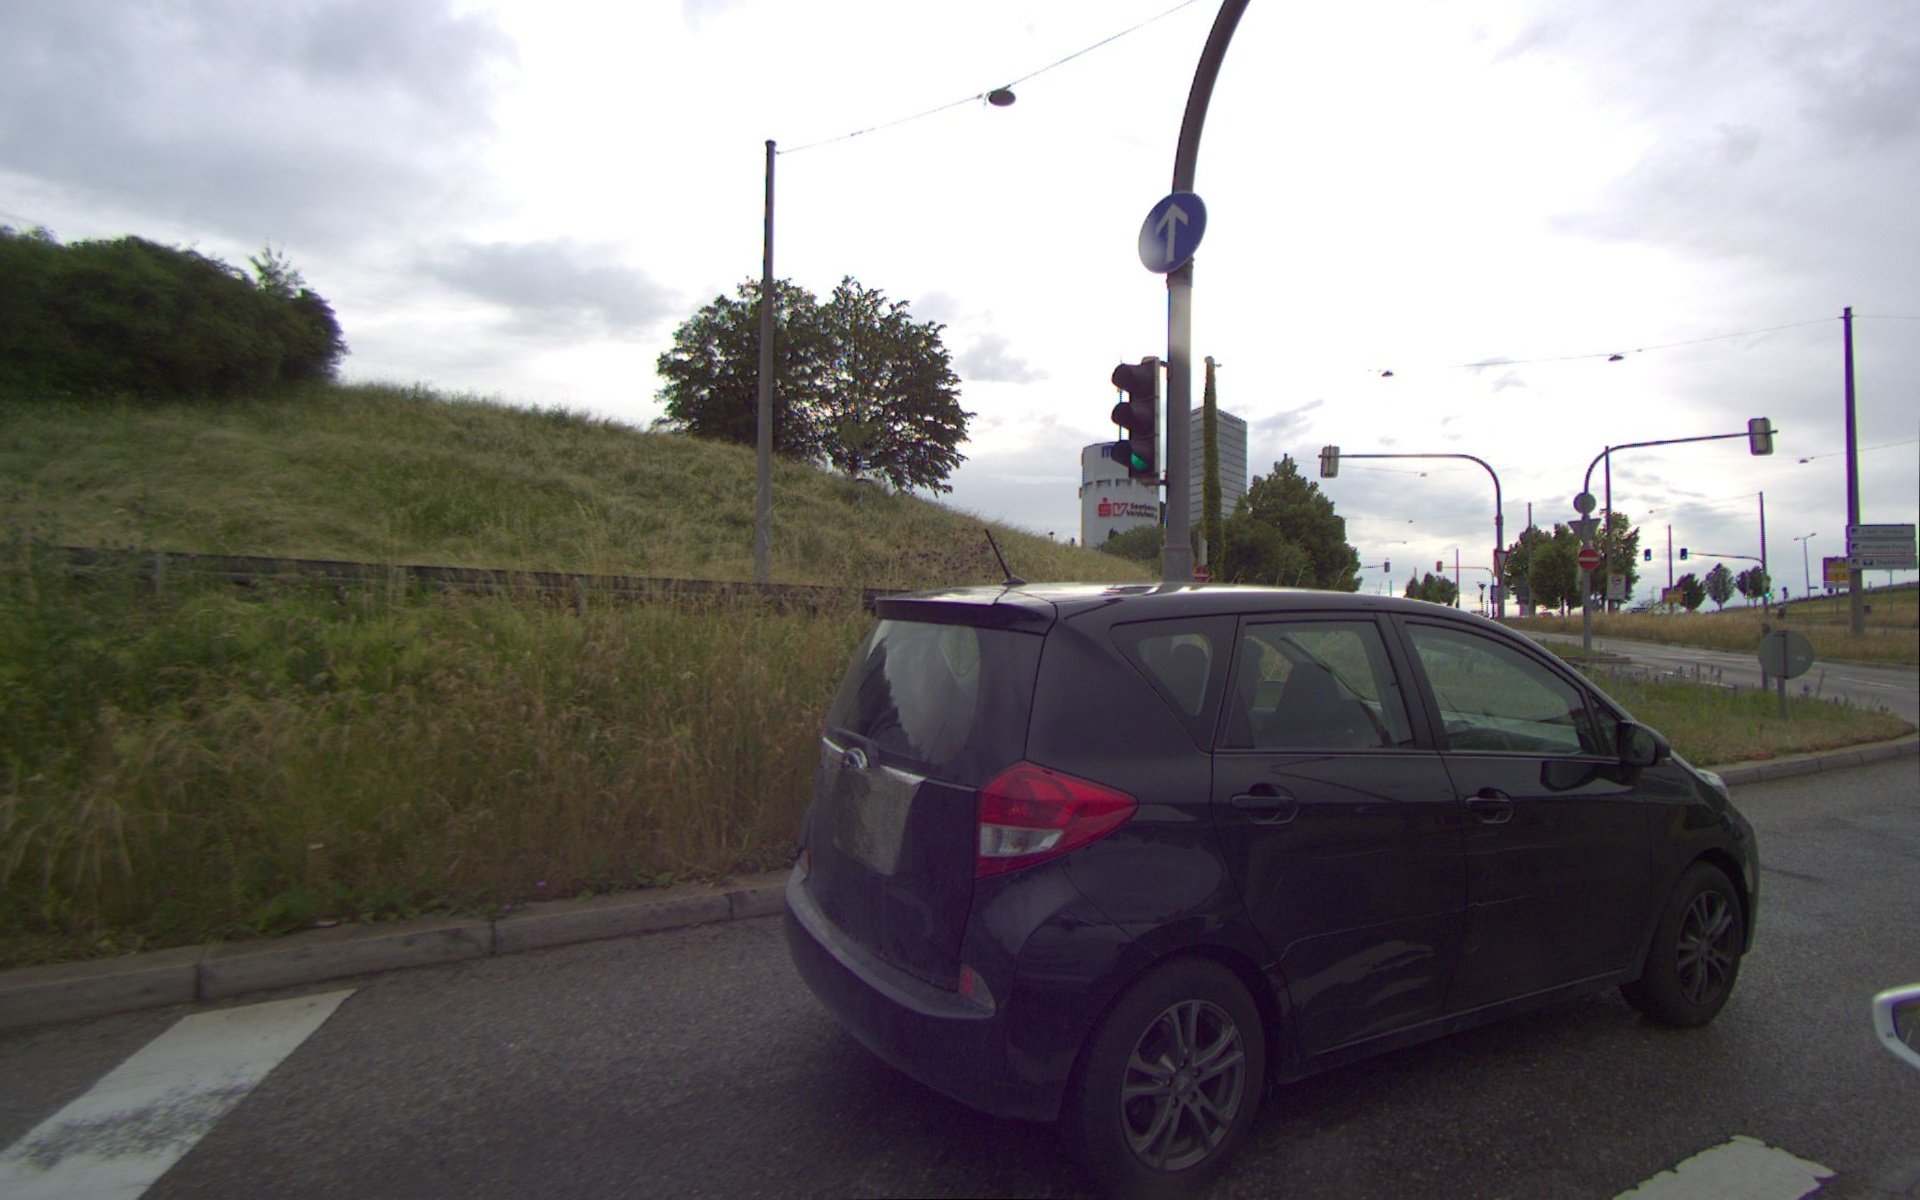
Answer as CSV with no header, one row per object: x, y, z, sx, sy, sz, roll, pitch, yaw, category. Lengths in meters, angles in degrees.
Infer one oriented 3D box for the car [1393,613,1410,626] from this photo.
57.419,2.569,130.668,1.831,1.642,4.000,0,0,19,car

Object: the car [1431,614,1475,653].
27.106,1.809,55.346,1.962,2.040,3.997,-2,-2,24,car

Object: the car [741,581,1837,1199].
1.367,0.768,3.894,3.993,1.586,1.788,1,1,-29,car

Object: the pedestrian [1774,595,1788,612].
76.306,0.308,93.375,0.622,1.591,0.896,-1,-1,15,pedestrian

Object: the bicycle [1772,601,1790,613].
76.309,0.648,93.392,0.622,1.119,1.754,-1,-3,15,bicycle
